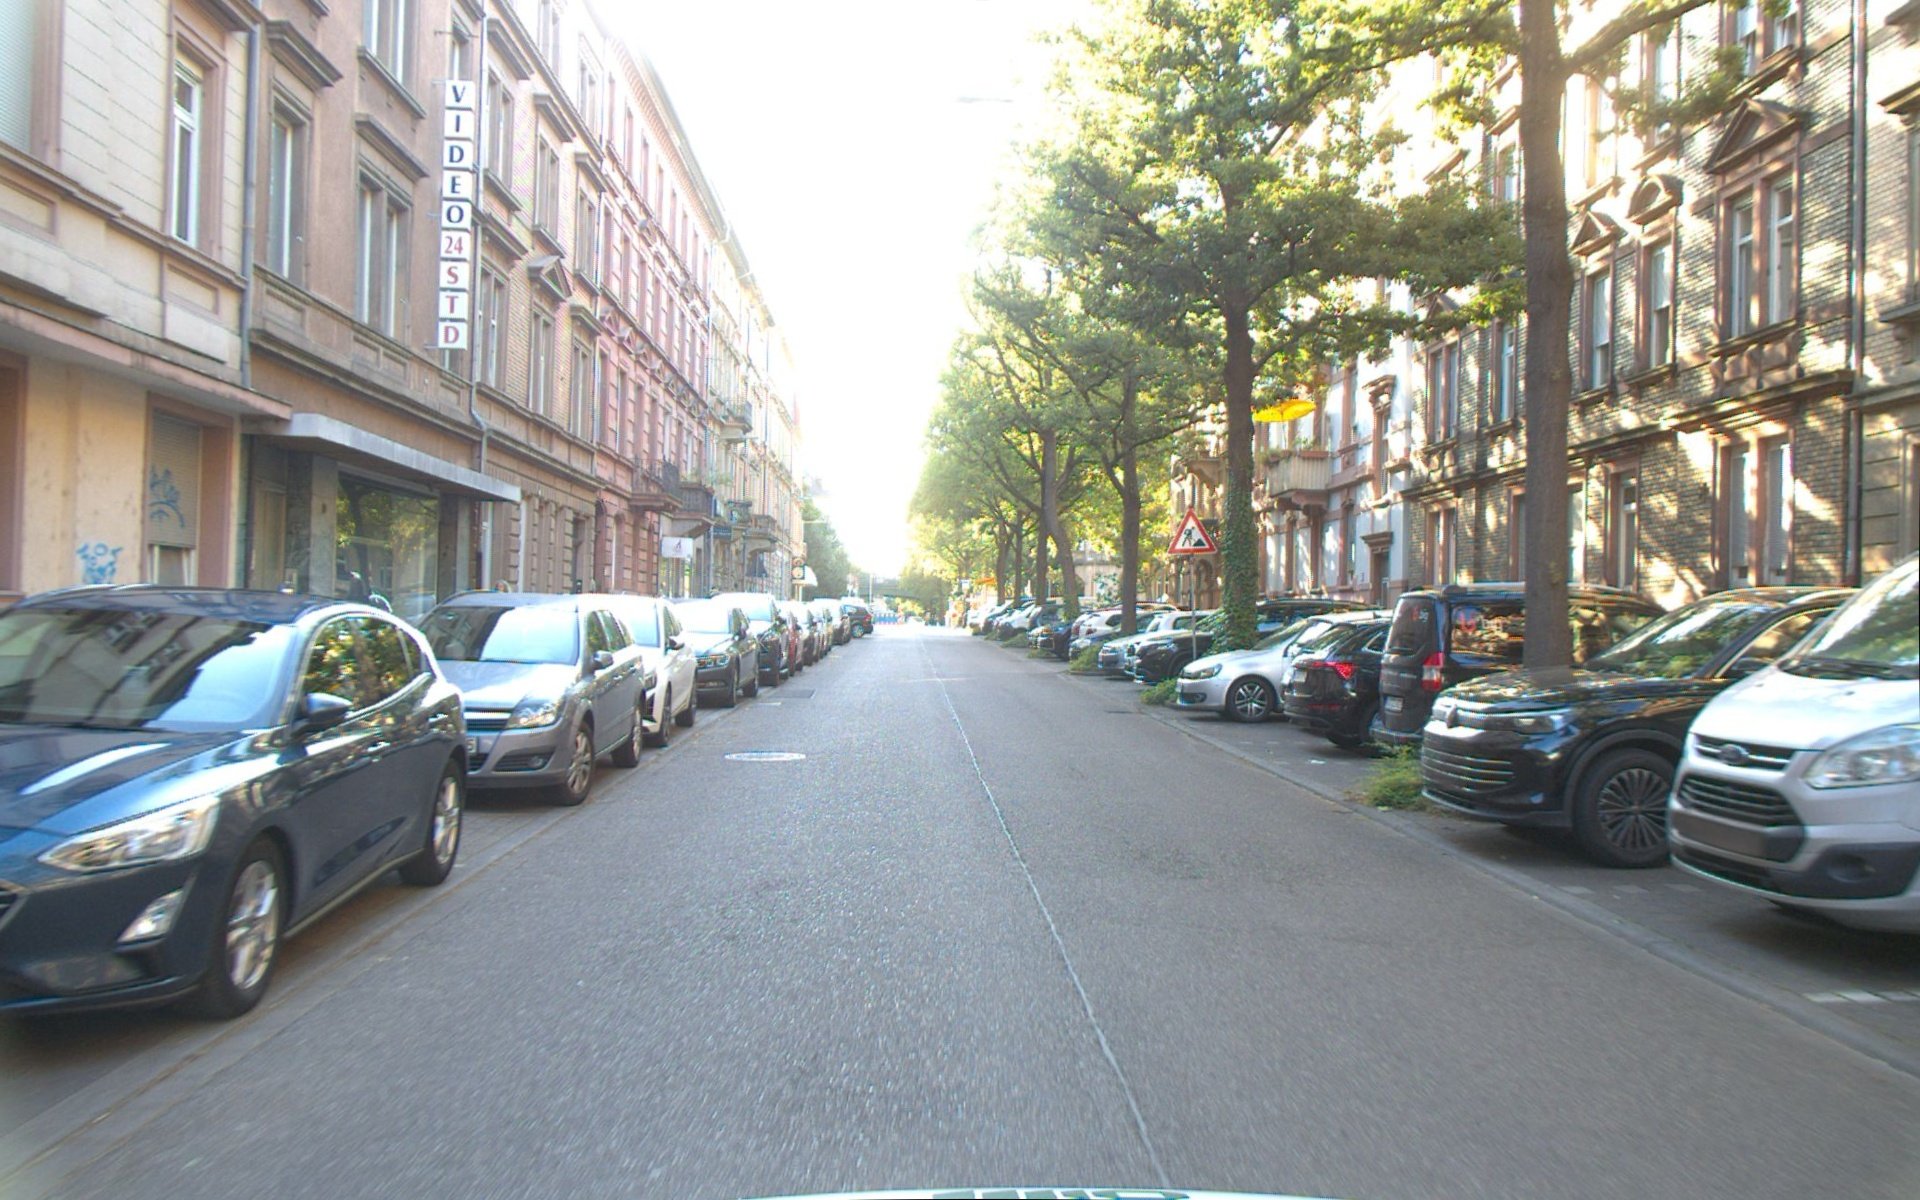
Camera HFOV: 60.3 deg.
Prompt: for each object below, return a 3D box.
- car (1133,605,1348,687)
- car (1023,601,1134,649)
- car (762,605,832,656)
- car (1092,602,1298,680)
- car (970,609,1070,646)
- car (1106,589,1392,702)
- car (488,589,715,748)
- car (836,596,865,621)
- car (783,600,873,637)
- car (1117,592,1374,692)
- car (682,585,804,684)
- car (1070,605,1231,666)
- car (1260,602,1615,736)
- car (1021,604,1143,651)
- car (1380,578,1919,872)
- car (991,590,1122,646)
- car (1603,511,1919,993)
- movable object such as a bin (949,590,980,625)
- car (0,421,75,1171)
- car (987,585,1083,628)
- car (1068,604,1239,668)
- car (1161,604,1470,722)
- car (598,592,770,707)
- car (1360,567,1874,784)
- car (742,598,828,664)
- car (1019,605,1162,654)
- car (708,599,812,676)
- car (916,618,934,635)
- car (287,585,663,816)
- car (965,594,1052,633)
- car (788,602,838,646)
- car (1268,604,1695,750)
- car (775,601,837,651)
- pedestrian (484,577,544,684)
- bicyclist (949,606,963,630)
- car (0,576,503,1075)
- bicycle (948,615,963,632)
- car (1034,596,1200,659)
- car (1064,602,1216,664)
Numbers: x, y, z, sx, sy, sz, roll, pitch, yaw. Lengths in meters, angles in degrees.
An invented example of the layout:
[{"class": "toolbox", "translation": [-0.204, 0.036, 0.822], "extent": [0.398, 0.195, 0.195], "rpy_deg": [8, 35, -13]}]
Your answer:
[{"class": "car", "translation": [5.616, 0.912, 33.463], "extent": [4.017, 1.495, 1.801], "rpy_deg": [2, 0, -1]}, {"class": "car", "translation": [4.344, 0.900, 60.918], "extent": [3.810, 1.678, 1.722], "rpy_deg": [1, 0, -7]}, {"class": "car", "translation": [-4.568, 0.845, 46.935], "extent": [1.671, 1.346, 4.099], "rpy_deg": [1, 0, -2]}, {"class": "car", "translation": [5.084, 0.875, 36.110], "extent": [4.140, 1.563, 1.799], "rpy_deg": [2, 0, -5]}, {"class": "car", "translation": [2.487, 1.124, 68.962], "extent": [3.914, 1.500, 1.778], "rpy_deg": [0, 0, -10]}, {"class": "car", "translation": [4.701, 0.755, 27.341], "extent": [4.384, 1.685, 1.891], "rpy_deg": [2, -2, 0]}, {"class": "car", "translation": [-3.747, 0.662, 17.944], "extent": [1.722, 1.498, 4.086], "rpy_deg": [1, 0, -3]}, {"class": "car", "translation": [-6.737, 0.518, 102.339], "extent": [1.730, 1.462, 4.297], "rpy_deg": [2, 0, -3]}, {"class": "car", "translation": [-5.921, 0.825, 74.101], "extent": [3.912, 1.556, 1.823], "rpy_deg": [1, 0, -8]}, {"class": "car", "translation": [5.250, 0.784, 30.765], "extent": [4.387, 1.685, 1.890], "rpy_deg": [2, -2, -3]}, {"class": "car", "translation": [-3.990, 0.610, 30.961], "extent": [1.784, 1.628, 4.312], "rpy_deg": [3, 0, -2]}, {"class": "car", "translation": [4.944, 0.916, 43.200], "extent": [3.909, 1.488, 1.780], "rpy_deg": [1, 0, -6]}, {"class": "car", "translation": [5.905, 0.836, 20.682], "extent": [3.909, 1.521, 1.685], "rpy_deg": [1, 0, -5]}, {"class": "car", "translation": [4.288, 0.956, 58.339], "extent": [4.027, 1.529, 1.808], "rpy_deg": [1, 0, -7]}, {"class": "car", "translation": [5.505, 0.710, 11.015], "extent": [4.824, 1.661, 2.076], "rpy_deg": [-1, 0, -6]}, {"class": "car", "translation": [3.784, 0.745, 65.314], "extent": [4.989, 1.974, 2.157], "rpy_deg": [1, -4, -2]}, {"class": "car", "translation": [5.946, 0.553, 7.983], "extent": [4.824, 1.935, 2.174], "rpy_deg": [-1, 0, -6]}, {"class": "movable object such as a bin", "translation": [0.400, 0.644, 135.815], "extent": [1.951, 2.747, 3.113], "rpy_deg": [1, -1, 11]}, {"class": "car", "translation": [-3.160, 0.459, 2.016], "extent": [1.805, 1.865, 4.604], "rpy_deg": [2, 0, -3]}, {"class": "car", "translation": [3.731, 0.341, 82.807], "extent": [4.524, 2.049, 1.998], "rpy_deg": [1, 0, -5]}, {"class": "car", "translation": [4.698, 0.863, 40.479], "extent": [3.907, 1.412, 1.677], "rpy_deg": [-2, 0, -3]}, {"class": "car", "translation": [4.889, 0.852, 23.063], "extent": [3.906, 1.482, 1.687], "rpy_deg": [1, 0, -1]}, {"class": "car", "translation": [-3.954, 0.672, 24.384], "extent": [1.824, 1.498, 4.487], "rpy_deg": [1, 0, -1]}, {"class": "car", "translation": [6.030, 0.669, 15.544], "extent": [4.041, 1.819, 1.945], "rpy_deg": [1, 0, 0]}, {"class": "car", "translation": [-4.393, 0.747, 42.065], "extent": [1.784, 1.503, 4.421], "rpy_deg": [3, 0, -2]}, {"class": "car", "translation": [4.409, 0.990, 56.166], "extent": [4.568, 1.529, 1.930], "rpy_deg": [1, 0, -6]}, {"class": "car", "translation": [-4.231, 0.761, 35.522], "extent": [1.784, 1.450, 4.312], "rpy_deg": [3, 0, -2]}, {"class": "car", "translation": [-3.462, 2.599, 163.114], "extent": [1.714, 1.535, 3.998], "rpy_deg": [1, 0, -2]}, {"class": "car", "translation": [-3.579, 0.668, 13.119], "extent": [1.848, 1.469, 4.539], "rpy_deg": [2, 0, -3]}, {"class": "car", "translation": [2.795, 0.798, 95.705], "extent": [4.873, 2.133, 2.105], "rpy_deg": [1, 0, -2]}, {"class": "car", "translation": [-5.165, 0.824, 58.532], "extent": [1.550, 1.499, 3.998], "rpy_deg": [1, 0, -2]}, {"class": "car", "translation": [5.621, 0.799, 18.181], "extent": [4.062, 1.480, 1.935], "rpy_deg": [0, 0, -3]}, {"class": "car", "translation": [-4.764, 0.792, 51.609], "extent": [1.671, 1.464, 3.957], "rpy_deg": [1, 0, -2]}, {"class": "pedestrian", "translation": [-7.067, 0.476, 26.264], "extent": [0.681, 1.660, 1.017], "rpy_deg": [1, 0, -3]}, {"class": "bicyclist", "translation": [-0.253, 1.075, 100.481], "extent": [0.787, 1.407, 0.985], "rpy_deg": [3, -1, -3]}, {"class": "car", "translation": [-3.333, 0.670, 7.079], "extent": [1.712, 1.498, 4.242], "rpy_deg": [1, 0, -3]}, {"class": "bicycle", "translation": [-0.265, 1.438, 100.521], "extent": [0.787, 0.985, 2.107], "rpy_deg": [3, -1, -2]}, {"class": "car", "translation": [4.531, 0.776, 48.087], "extent": [4.554, 1.732, 1.879], "rpy_deg": [-1, 0, -6]}, {"class": "car", "translation": [4.954, 0.890, 45.798], "extent": [3.909, 1.618, 1.780], "rpy_deg": [1, 0, -6]}]
